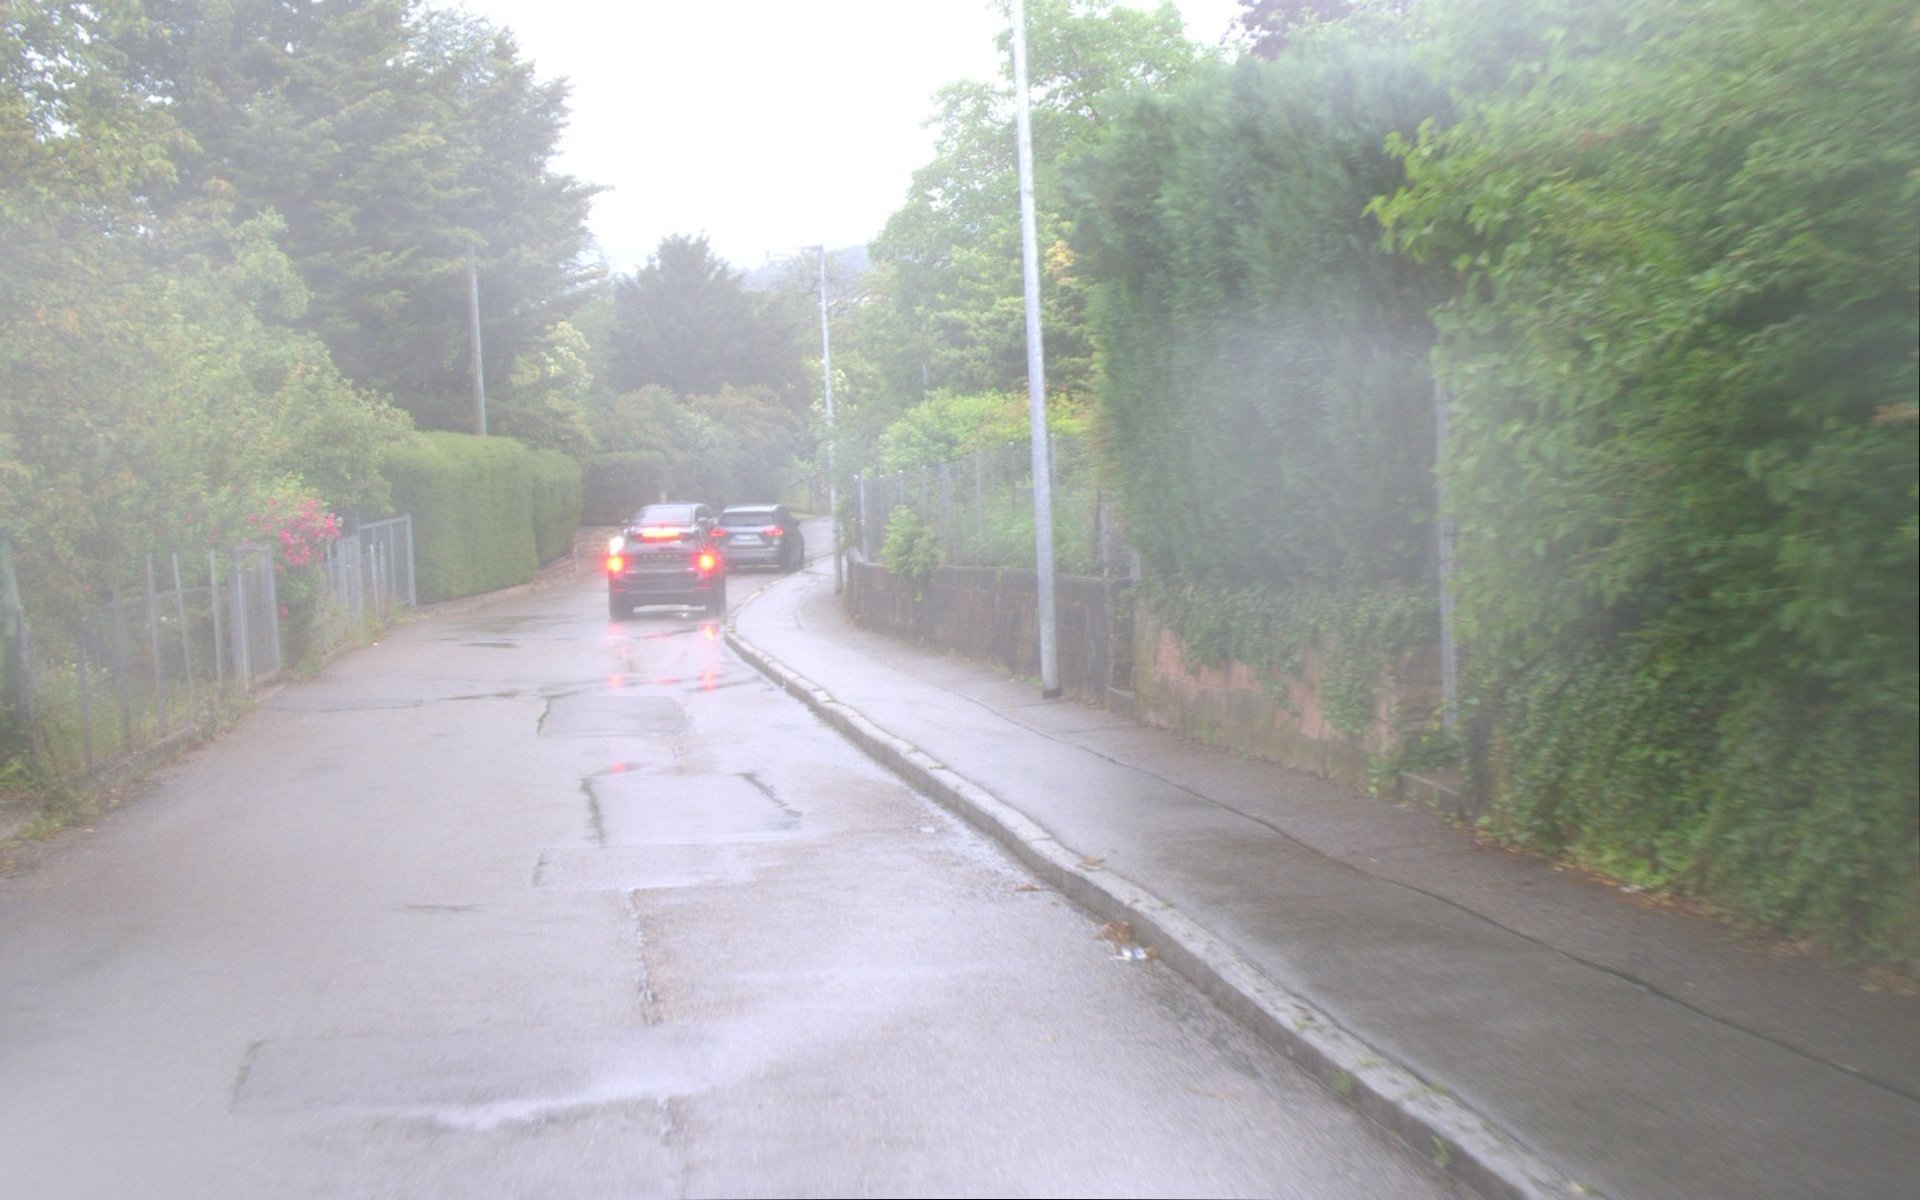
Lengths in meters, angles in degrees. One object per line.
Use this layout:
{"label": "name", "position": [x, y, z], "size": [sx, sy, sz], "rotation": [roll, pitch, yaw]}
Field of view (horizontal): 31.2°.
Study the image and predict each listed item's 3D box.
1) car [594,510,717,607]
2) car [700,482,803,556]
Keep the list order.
{"label": "car", "position": [-4.878, -0.687, 55.459], "size": [1.834, 1.459, 4.001], "rotation": [2, 1, -4]}
{"label": "car", "position": [-4.710, -1.863, 78.004], "size": [1.678, 1.559, 3.794], "rotation": [0, 3, 7]}
